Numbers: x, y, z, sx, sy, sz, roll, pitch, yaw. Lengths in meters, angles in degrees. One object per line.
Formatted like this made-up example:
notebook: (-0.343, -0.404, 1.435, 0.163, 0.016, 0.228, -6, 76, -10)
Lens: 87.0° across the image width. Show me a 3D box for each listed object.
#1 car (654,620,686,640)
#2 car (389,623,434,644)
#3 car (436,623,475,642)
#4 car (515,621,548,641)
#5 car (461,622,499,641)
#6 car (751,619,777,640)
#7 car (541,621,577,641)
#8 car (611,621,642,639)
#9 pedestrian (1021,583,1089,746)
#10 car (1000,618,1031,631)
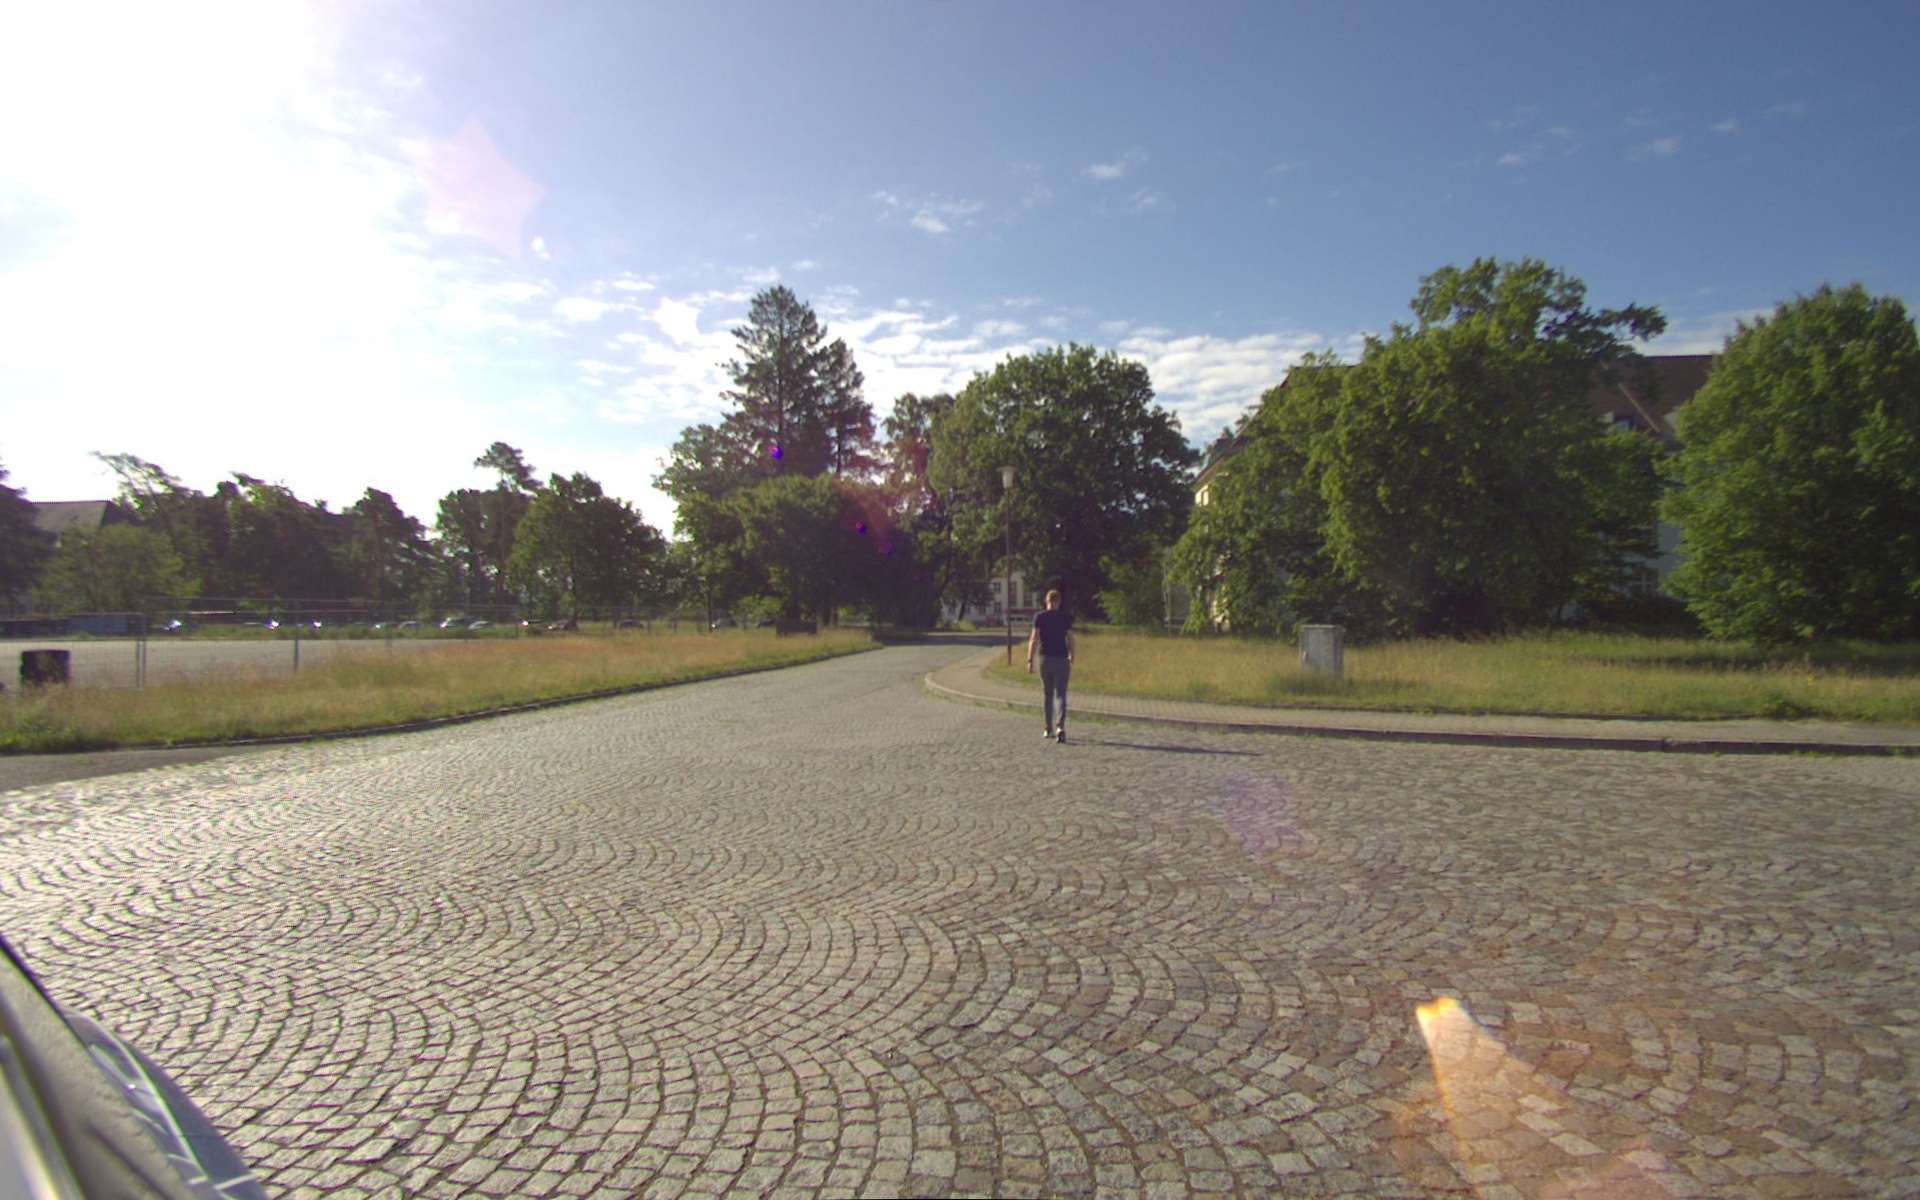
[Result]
car: (-30.019, 3.138, 104.886, 1.974, 2.029, 3.996, 0, -1, 3)
car: (-58.507, 3.566, 108.014, 1.980, 2.029, 3.984, -4, -1, 12)
car: (-53.315, 3.412, 106.951, 1.974, 2.029, 3.995, 0, -1, 4)
car: (-44.869, 3.251, 106.025, 1.971, 2.029, 4.002, 0, -1, -2)
car: (-50.849, 3.325, 107.198, 1.974, 1.962, 3.995, 0, -1, 4)
car: (-19.907, 2.987, 102.817, 1.972, 2.029, 4.000, 0, -1, -1)
car: (-41.938, 3.210, 105.997, 1.974, 2.029, 3.994, 0, -1, 4)
car: (-34.615, 3.086, 105.048, 1.972, 1.829, 4.000, 0, -1, -1)
pedestrian: (1.194, 0.782, 12.648, 0.790, 1.929, 1.140, 0, -1, 7)
car: (8.927, 3.909, 162.133, 4.814, 2.111, 1.996, 0, -1, 6)
